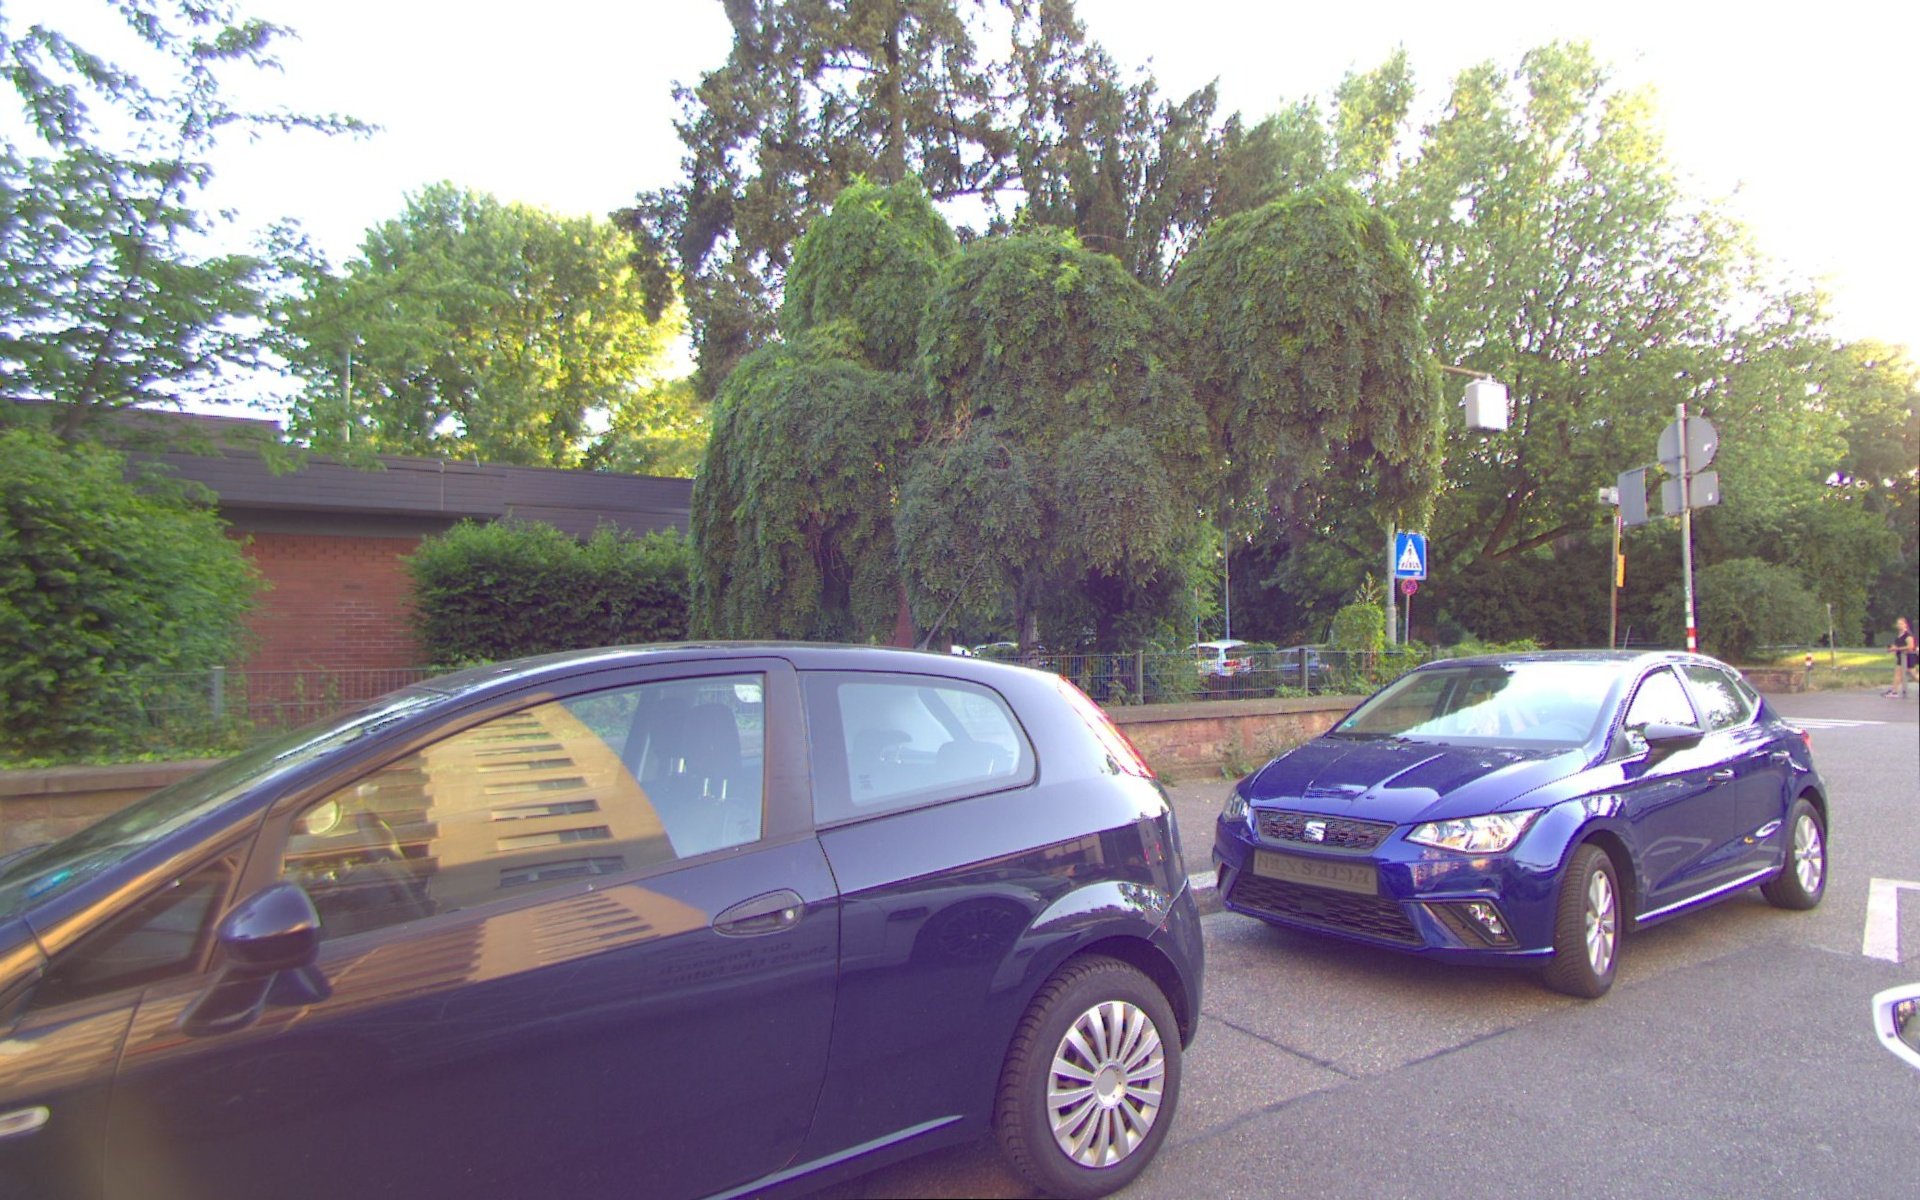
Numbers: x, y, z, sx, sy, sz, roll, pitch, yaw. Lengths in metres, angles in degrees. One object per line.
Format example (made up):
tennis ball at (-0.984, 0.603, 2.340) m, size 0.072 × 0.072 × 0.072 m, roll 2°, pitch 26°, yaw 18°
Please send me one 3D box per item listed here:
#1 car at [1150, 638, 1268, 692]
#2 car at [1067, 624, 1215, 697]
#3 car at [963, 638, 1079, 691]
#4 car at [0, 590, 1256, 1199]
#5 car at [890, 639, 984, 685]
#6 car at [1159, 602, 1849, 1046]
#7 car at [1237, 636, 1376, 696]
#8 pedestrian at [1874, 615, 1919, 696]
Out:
car at (8.659, 2.256, 35.201) m, size 1.800 × 1.583 × 3.856 m, roll -6°, pitch 0°, yaw -27°
car at (4.930, 1.701, 27.919) m, size 1.801 × 1.821 × 4.212 m, roll 4°, pitch -5°, yaw -28°
car at (1.904, 2.116, 32.818) m, size 1.801 × 1.564 × 4.212 m, roll 4°, pitch -5°, yaw -28°
car at (-1.135, 0.845, 2.644) m, size 3.659 × 1.587 × 1.723 m, roll 1°, pitch -4°, yaw -34°
car at (-0.927, 2.372, 38.087) m, size 1.801 × 1.564 × 4.212 m, roll 4°, pitch -5°, yaw -28°
car at (3.044, 0.883, 5.415) m, size 3.752 × 1.587 × 1.723 m, roll 1°, pitch -4°, yaw -35°
car at (10.542, 1.989, 30.829) m, size 1.798 × 1.511 × 3.843 m, roll -6°, pitch 0°, yaw -24°
pedestrian at (19.880, 1.162, 21.283) m, size 0.642 × 1.671 × 0.667 m, roll 0°, pitch 0°, yaw -37°
